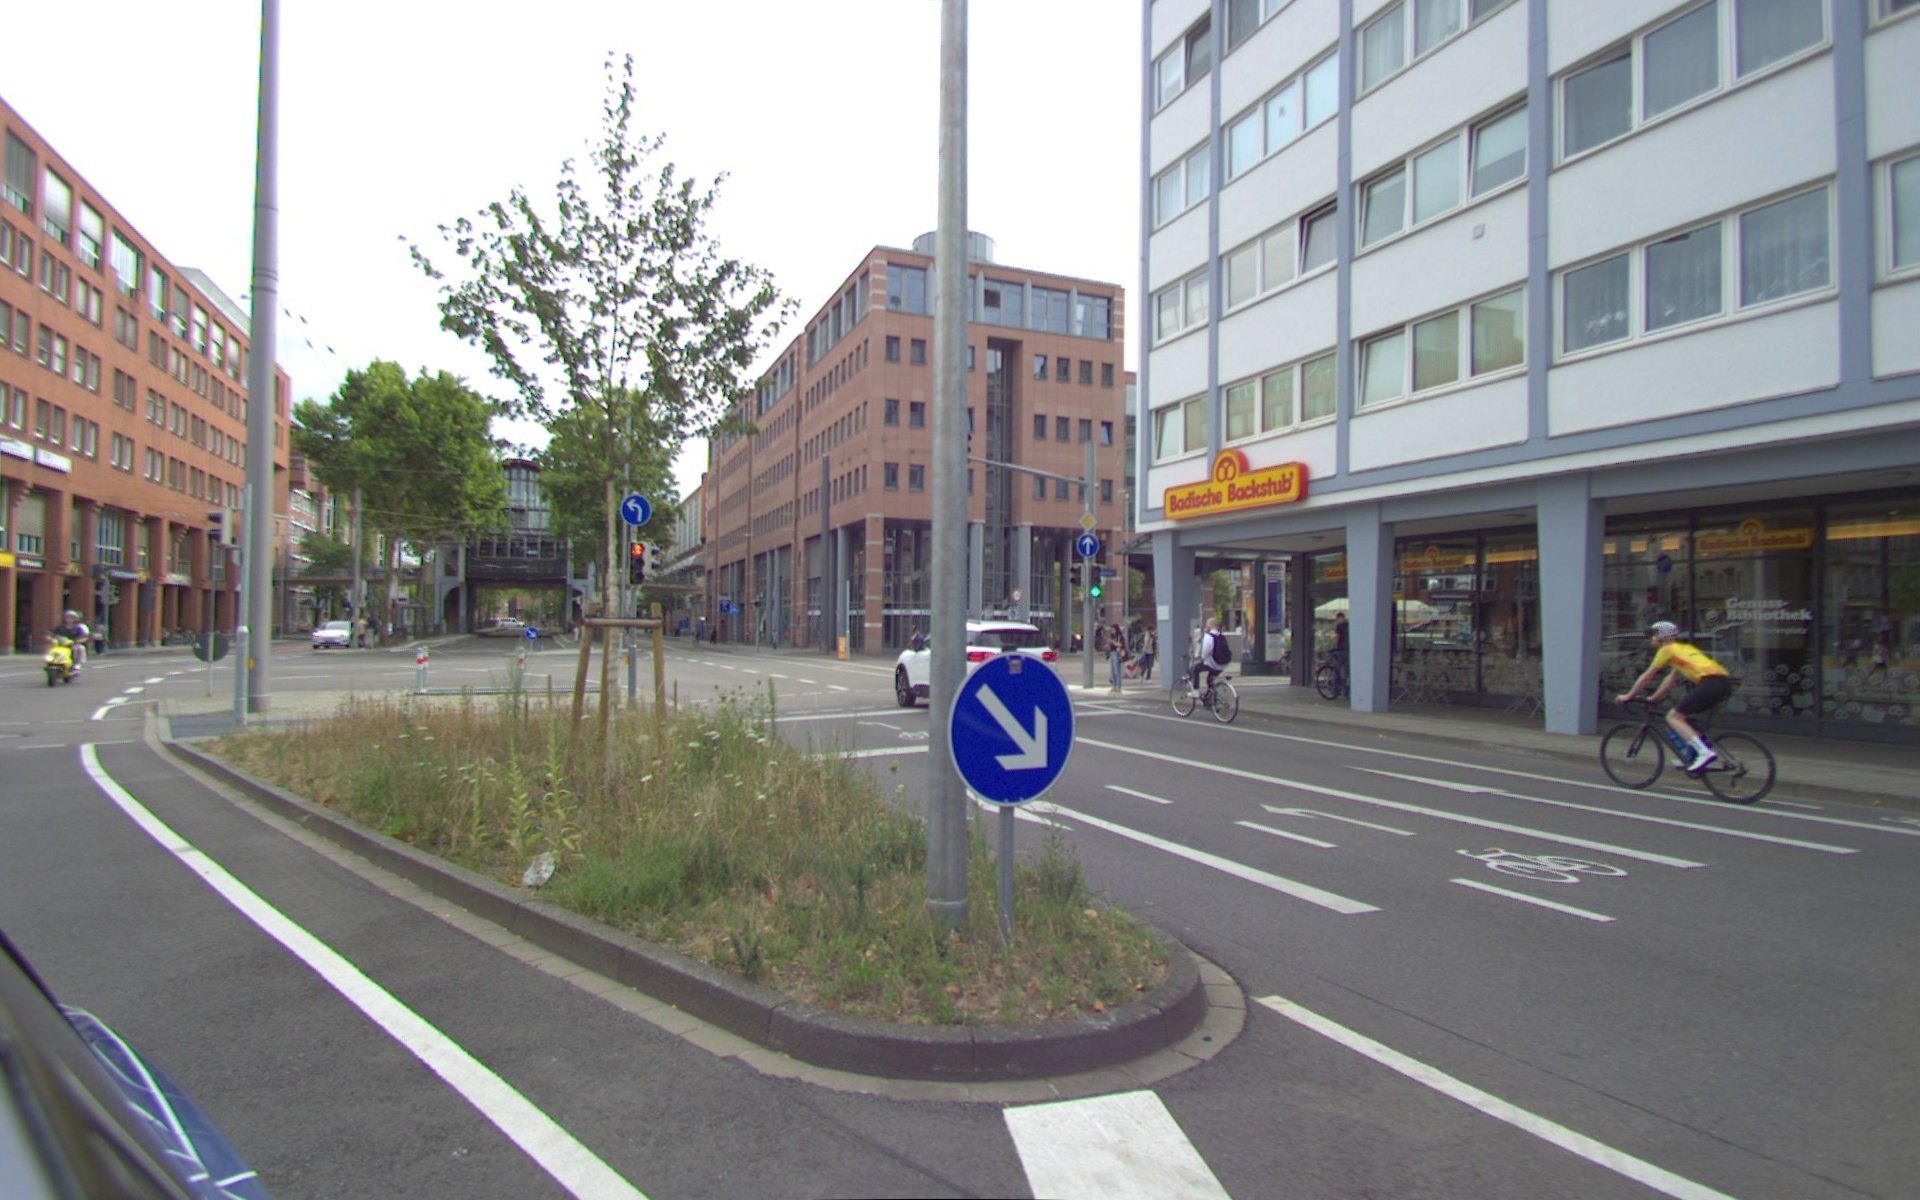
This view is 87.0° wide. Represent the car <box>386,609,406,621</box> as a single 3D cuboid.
[{"bbox_3d":[-80.595,2.111,144.706,1.925,1.614,4.013,1,-2,-21],"label":"car"}]

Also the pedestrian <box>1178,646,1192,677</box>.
[{"bbox_3d":[11.799,3.218,53.119,0.630,1.654,0.463,-1,-3,29],"label":"pedestrian"}]

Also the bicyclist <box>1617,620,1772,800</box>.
[{"bbox_3d":[7.214,1.041,9.978,0.701,1.662,0.974,1,-3,-23],"label":"bicyclist"}]

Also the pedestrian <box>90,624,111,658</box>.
[{"bbox_3d":[-41.477,1.979,48.835,0.401,1.644,0.734,3,-3,-14],"label":"pedestrian"}]

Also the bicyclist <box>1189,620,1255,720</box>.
[{"bbox_3d":[4.498,1.189,17.418,0.599,1.658,1.041,1,-3,-19],"label":"bicyclist"}]

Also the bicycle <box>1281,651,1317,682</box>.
[{"bbox_3d":[11.462,2.236,34.221,0.473,0.996,1.763,-2,-3,43],"label":"bicycle"}]

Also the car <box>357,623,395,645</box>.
[{"bbox_3d":[-45.277,2.644,78.521,1.925,1.614,4.013,1,-2,-22],"label":"car"}]

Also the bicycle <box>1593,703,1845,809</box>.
[{"bbox_3d":[7.314,1.472,9.892,0.403,0.801,2.004,1,-3,-25],"label":"bicycle"}]

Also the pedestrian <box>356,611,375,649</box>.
[{"bbox_3d":[-30.026,1.536,51.114,0.682,1.889,0.809,1,-3,-21],"label":"pedestrian"}]

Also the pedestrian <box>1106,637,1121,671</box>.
[{"bbox_3d":[7.365,2.578,48.516,0.498,1.589,0.522,1,-3,-20],"label":"pedestrian"}]

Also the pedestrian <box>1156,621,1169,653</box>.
[{"bbox_3d":[11.233,2.064,56.135,0.680,1.775,0.495,-1,-3,21],"label":"pedestrian"}]

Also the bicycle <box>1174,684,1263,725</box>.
[{"bbox_3d":[4.475,1.797,17.666,0.477,0.593,2.004,1,-3,-19],"label":"bicycle"}]

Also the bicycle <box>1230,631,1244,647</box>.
[{"bbox_3d":[17.161,2.411,62.703,0.471,0.996,1.772,-1,-3,27],"label":"bicycle"}]

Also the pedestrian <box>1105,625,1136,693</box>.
[{"bbox_3d":[3.752,1.376,23.636,0.491,1.571,0.519,2,-3,-29],"label":"pedestrian"}]

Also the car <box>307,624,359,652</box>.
[{"bbox_3d":[-37.404,2.258,60.484,1.925,1.614,4.013,1,-2,-21],"label":"car"}]

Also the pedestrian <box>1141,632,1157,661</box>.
[{"bbox_3d":[10.087,2.481,54.010,0.644,1.484,0.583,1,-3,-21],"label":"pedestrian"}]

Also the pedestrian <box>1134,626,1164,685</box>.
[{"bbox_3d":[5.216,1.533,27.944,0.685,1.606,0.654,-1,-3,25],"label":"pedestrian"}]

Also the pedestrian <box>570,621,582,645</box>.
[{"bbox_3d":[-25.153,2.143,66.323,0.647,1.549,0.560,1,-1,-26],"label":"pedestrian"}]

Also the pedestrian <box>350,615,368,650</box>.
[{"bbox_3d":[-31.548,1.699,53.130,0.528,1.805,0.577,0,-3,-2],"label":"pedestrian"}]

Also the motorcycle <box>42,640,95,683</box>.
[{"bbox_3d":[-21.148,1.437,24.033,0.561,0.975,2.020,2,-3,-31],"label":"motorcycle"}]

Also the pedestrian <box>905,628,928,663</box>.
[{"bbox_3d":[-1.862,1.939,42.981,0.785,1.484,0.687,1,-3,-21],"label":"pedestrian"}]

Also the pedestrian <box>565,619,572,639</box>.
[{"bbox_3d":[-35.045,2.583,90.503,0.474,1.784,0.483,2,-3,-29],"label":"pedestrian"}]

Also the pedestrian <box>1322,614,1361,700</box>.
[{"bbox_3d":[8.010,1.196,21.251,0.469,1.779,0.591,1,-3,-22],"label":"pedestrian"}]

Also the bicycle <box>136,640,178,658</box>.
[{"bbox_3d":[-47.532,2.884,59.913,1.828,1.048,0.509,1,-3,-21],"label":"bicycle"}]

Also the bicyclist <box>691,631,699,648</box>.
[{"bbox_3d":[-22.567,3.381,86.139,0.542,1.391,0.740,1,-3,-21],"label":"bicyclist"}]

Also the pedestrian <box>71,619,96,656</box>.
[{"bbox_3d":[-40.814,1.756,47.128,0.636,1.709,0.700,3,-3,-24],"label":"pedestrian"}]

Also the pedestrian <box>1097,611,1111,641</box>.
[{"bbox_3d":[8.228,1.501,57.836,0.579,1.676,0.515,-1,-3,35],"label":"pedestrian"}]

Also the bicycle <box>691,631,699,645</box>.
[{"bbox_3d":[-22.578,3.230,86.202,0.538,1.126,1.595,1,-3,-21],"label":"bicycle"}]

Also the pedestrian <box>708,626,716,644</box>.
[{"bbox_3d":[-20.998,2.963,85.712,0.520,1.586,0.603,1,-3,-22],"label":"pedestrian"}]

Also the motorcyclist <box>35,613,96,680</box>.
[{"bbox_3d":[-21.132,1.095,23.925,0.857,1.528,1.047,2,-3,-32],"label":"motorcyclist"}]

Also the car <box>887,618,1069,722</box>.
[{"bbox_3d":[0.182,1.192,18.655,1.806,1.672,4.338,1,-2,-22],"label":"car"}]

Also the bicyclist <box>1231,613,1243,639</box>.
[{"bbox_3d":[17.213,1.606,62.968,0.544,1.581,0.875,-1,-3,28],"label":"bicyclist"}]

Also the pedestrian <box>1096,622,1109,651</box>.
[{"bbox_3d":[8.269,2.126,58.588,0.512,1.676,0.583,1,-3,-21],"label":"pedestrian"}]
